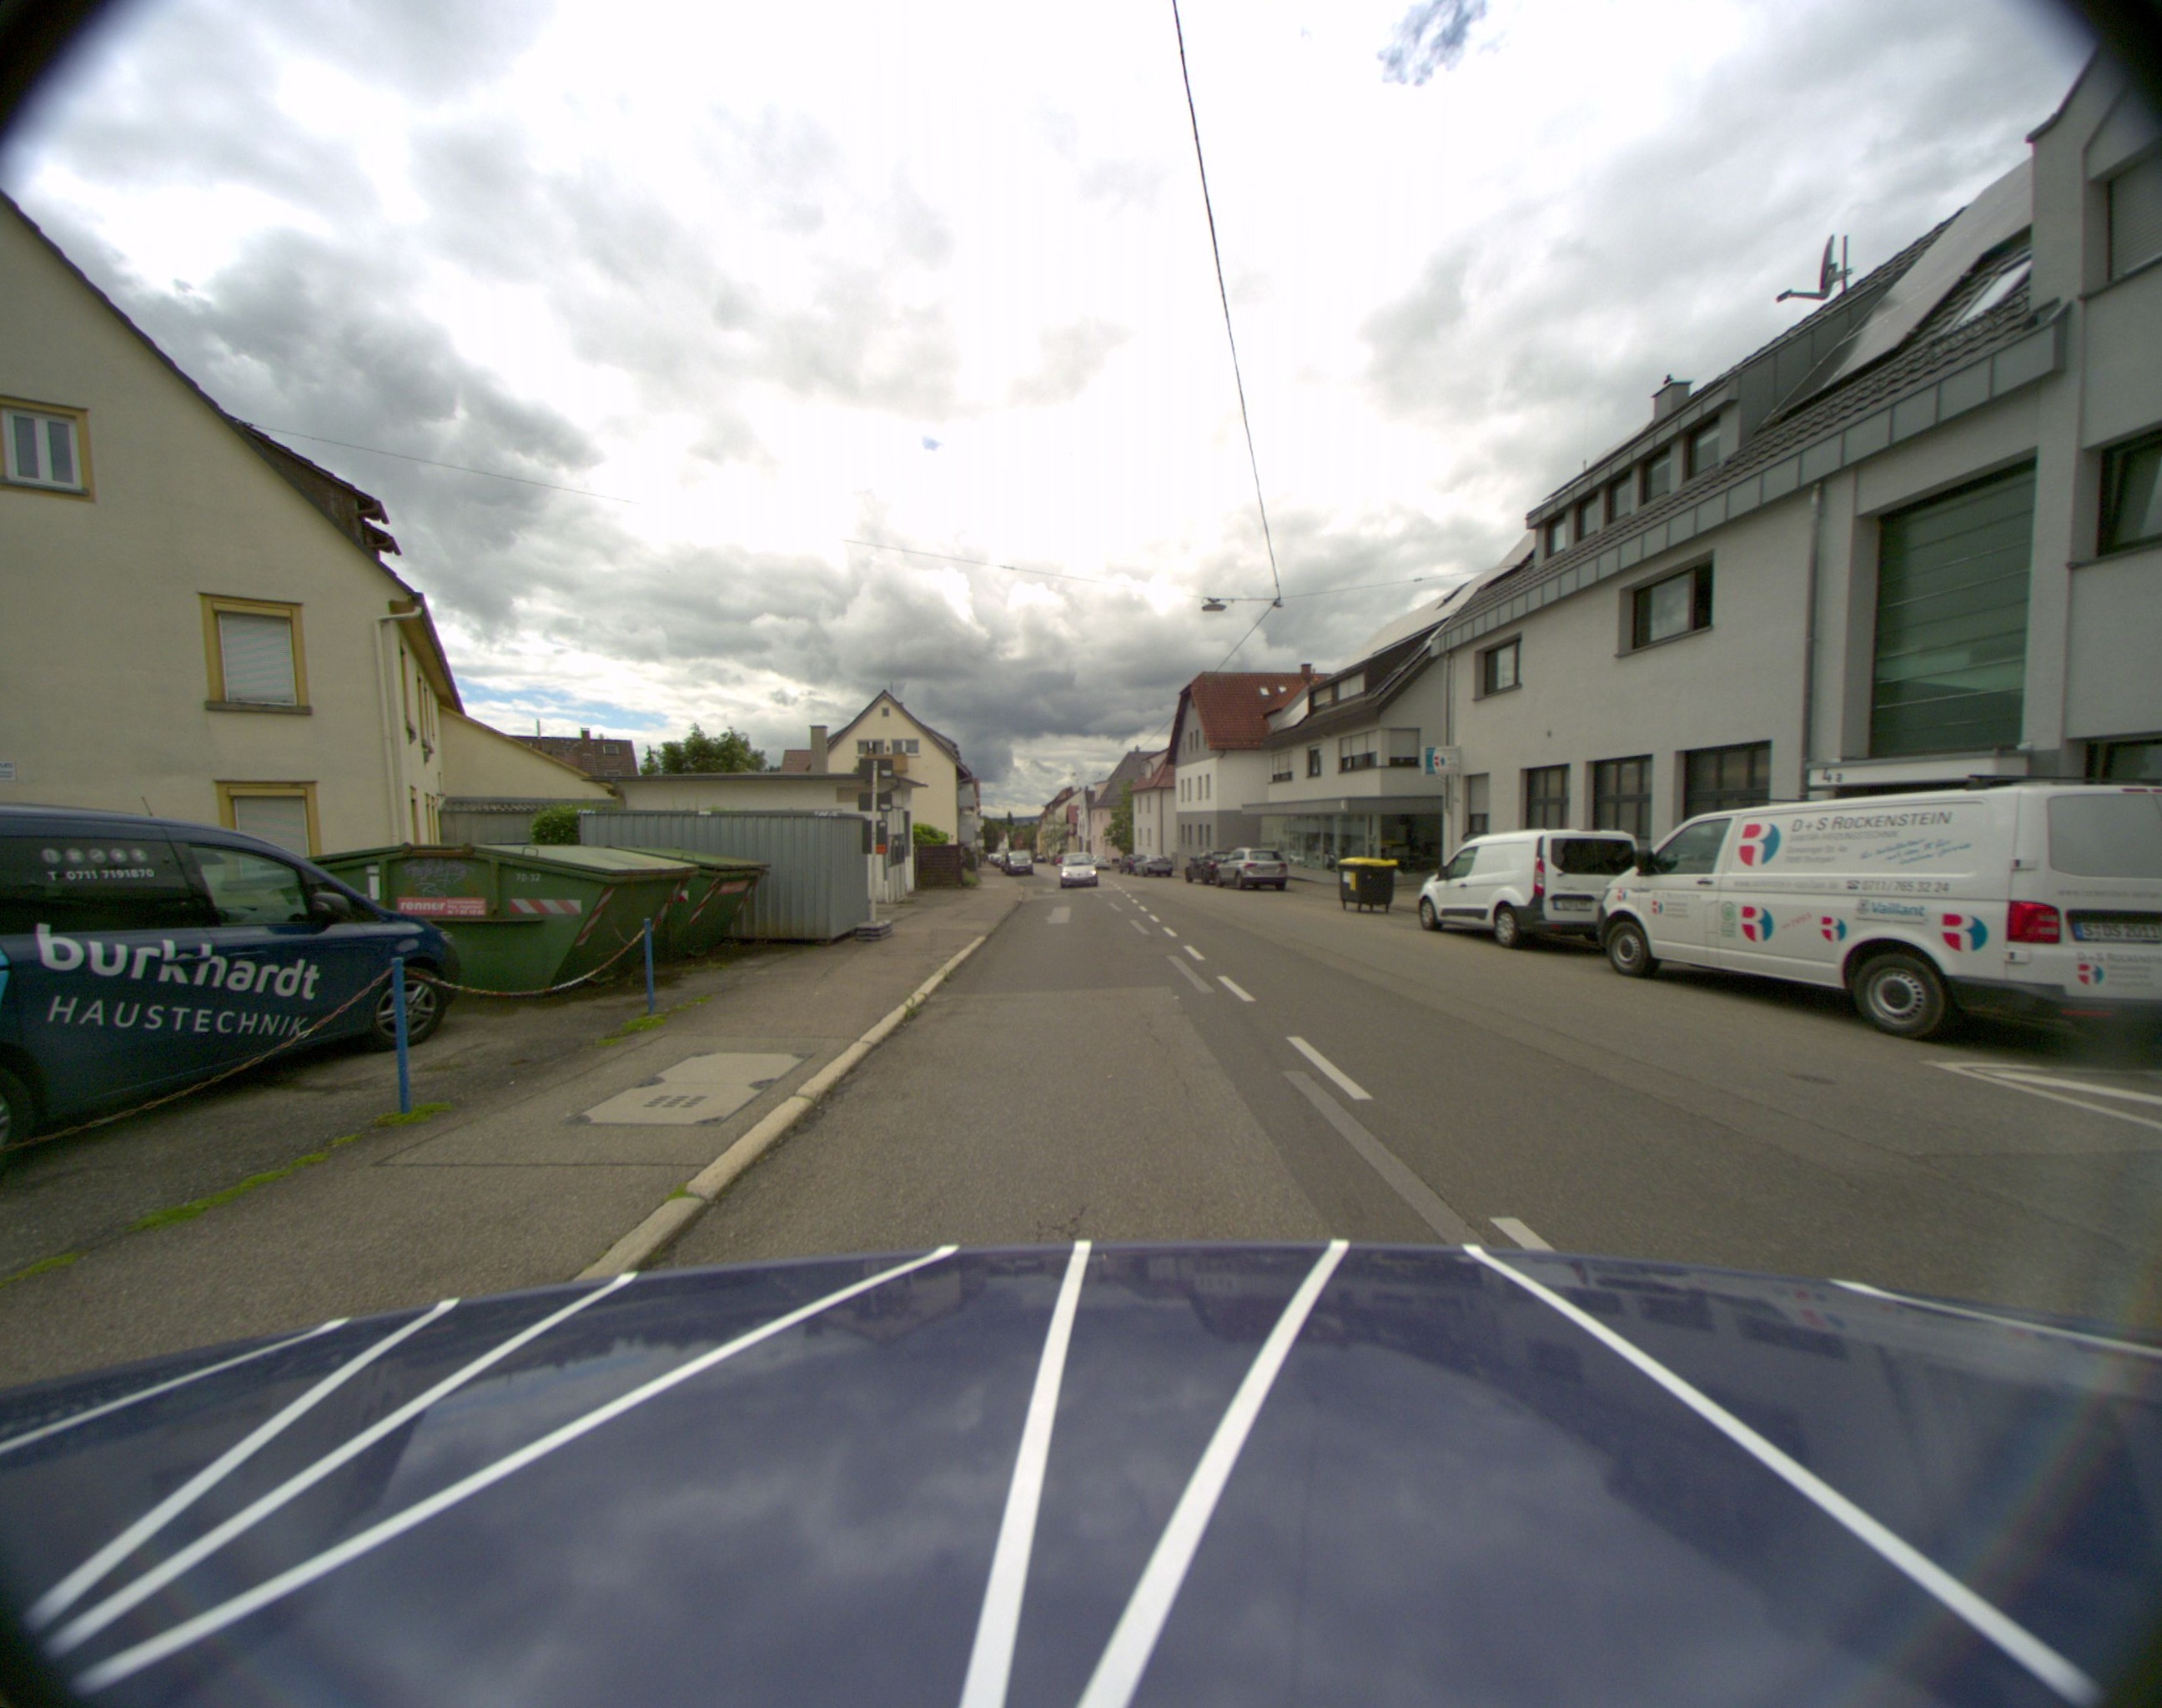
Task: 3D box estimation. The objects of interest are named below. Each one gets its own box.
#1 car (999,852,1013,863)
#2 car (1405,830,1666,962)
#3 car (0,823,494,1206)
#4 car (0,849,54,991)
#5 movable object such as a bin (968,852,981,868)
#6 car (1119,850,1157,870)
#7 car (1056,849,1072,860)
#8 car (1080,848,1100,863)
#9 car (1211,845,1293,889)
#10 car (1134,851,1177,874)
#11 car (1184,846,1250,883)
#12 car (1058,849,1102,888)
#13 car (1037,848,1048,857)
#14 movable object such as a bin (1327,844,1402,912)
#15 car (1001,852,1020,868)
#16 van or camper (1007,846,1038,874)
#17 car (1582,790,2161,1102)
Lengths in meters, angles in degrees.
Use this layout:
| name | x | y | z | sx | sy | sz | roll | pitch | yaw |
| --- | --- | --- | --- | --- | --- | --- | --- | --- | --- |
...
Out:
| name | x | y | z | sx | sy | sz | roll | pitch | yaw |
| --- | --- | --- | --- | --- | --- | --- | --- | --- | --- |
| car | -10.285 | 0.471 | 104.213 | 1.614 | 1.447 | 3.856 | -3 | 1 | -8 |
| car | 7.290 | 0.573 | 12.808 | 1.738 | 1.821 | 4.296 | 1 | 1 | -1 |
| car | -5.887 | 0.707 | 4.476 | 1.751 | 1.729 | 4.568 | 1 | 0 | -7 |
| car | -13.403 | 0.836 | 8.009 | 1.872 | 1.718 | 3.990 | -4 | 2 | -36 |
| movable object such as a bin | -10.060 | 0.587 | 71.832 | 1.083 | 1.429 | 1.259 | -3 | 1 | -7 |
| car | 4.171 | 0.418 | 56.259 | 1.843 | 1.437 | 3.996 | 1 | 1 | -10 |
| car | -2.365 | 0.066 | 104.773 | 1.707 | 1.524 | 3.732 | 2 | 1 | -7 |
| car | 0.907 | 0.144 | 77.877 | 1.654 | 1.438 | 3.772 | 0 | 1 | -5 |
| car | 6.765 | 0.461 | 30.541 | 1.843 | 1.623 | 4.405 | 0 | 1 | -7 |
| car | 4.807 | 0.528 | 49.819 | 1.843 | 1.437 | 4.464 | 1 | 1 | -7 |
| car | 6.358 | 0.450 | 35.974 | 1.843 | 1.623 | 4.405 | 0 | 1 | -7 |
| car | -0.103 | 0.640 | 36.060 | 1.722 | 1.587 | 3.998 | -3 | 1 | -4 |
| car | -7.120 | -0.329 | 141.612 | 1.707 | 1.524 | 3.732 | 2 | 1 | -7 |
| movable object such as a bin | 7.077 | 0.577 | 19.054 | 1.143 | 1.623 | 1.562 | 0 | 1 | -7 |
| car | -7.027 | 0.610 | 75.329 | 1.614 | 1.447 | 3.856 | -3 | 1 | -8 |
| van or camper | -4.661 | 0.442 | 59.926 | 2.000 | 2.002 | 5.060 | -4 | 1 | -8 |
| car | 7.216 | 0.579 | 7.234 | 1.816 | 1.994 | 4.763 | 1 | 1 | 2 |
